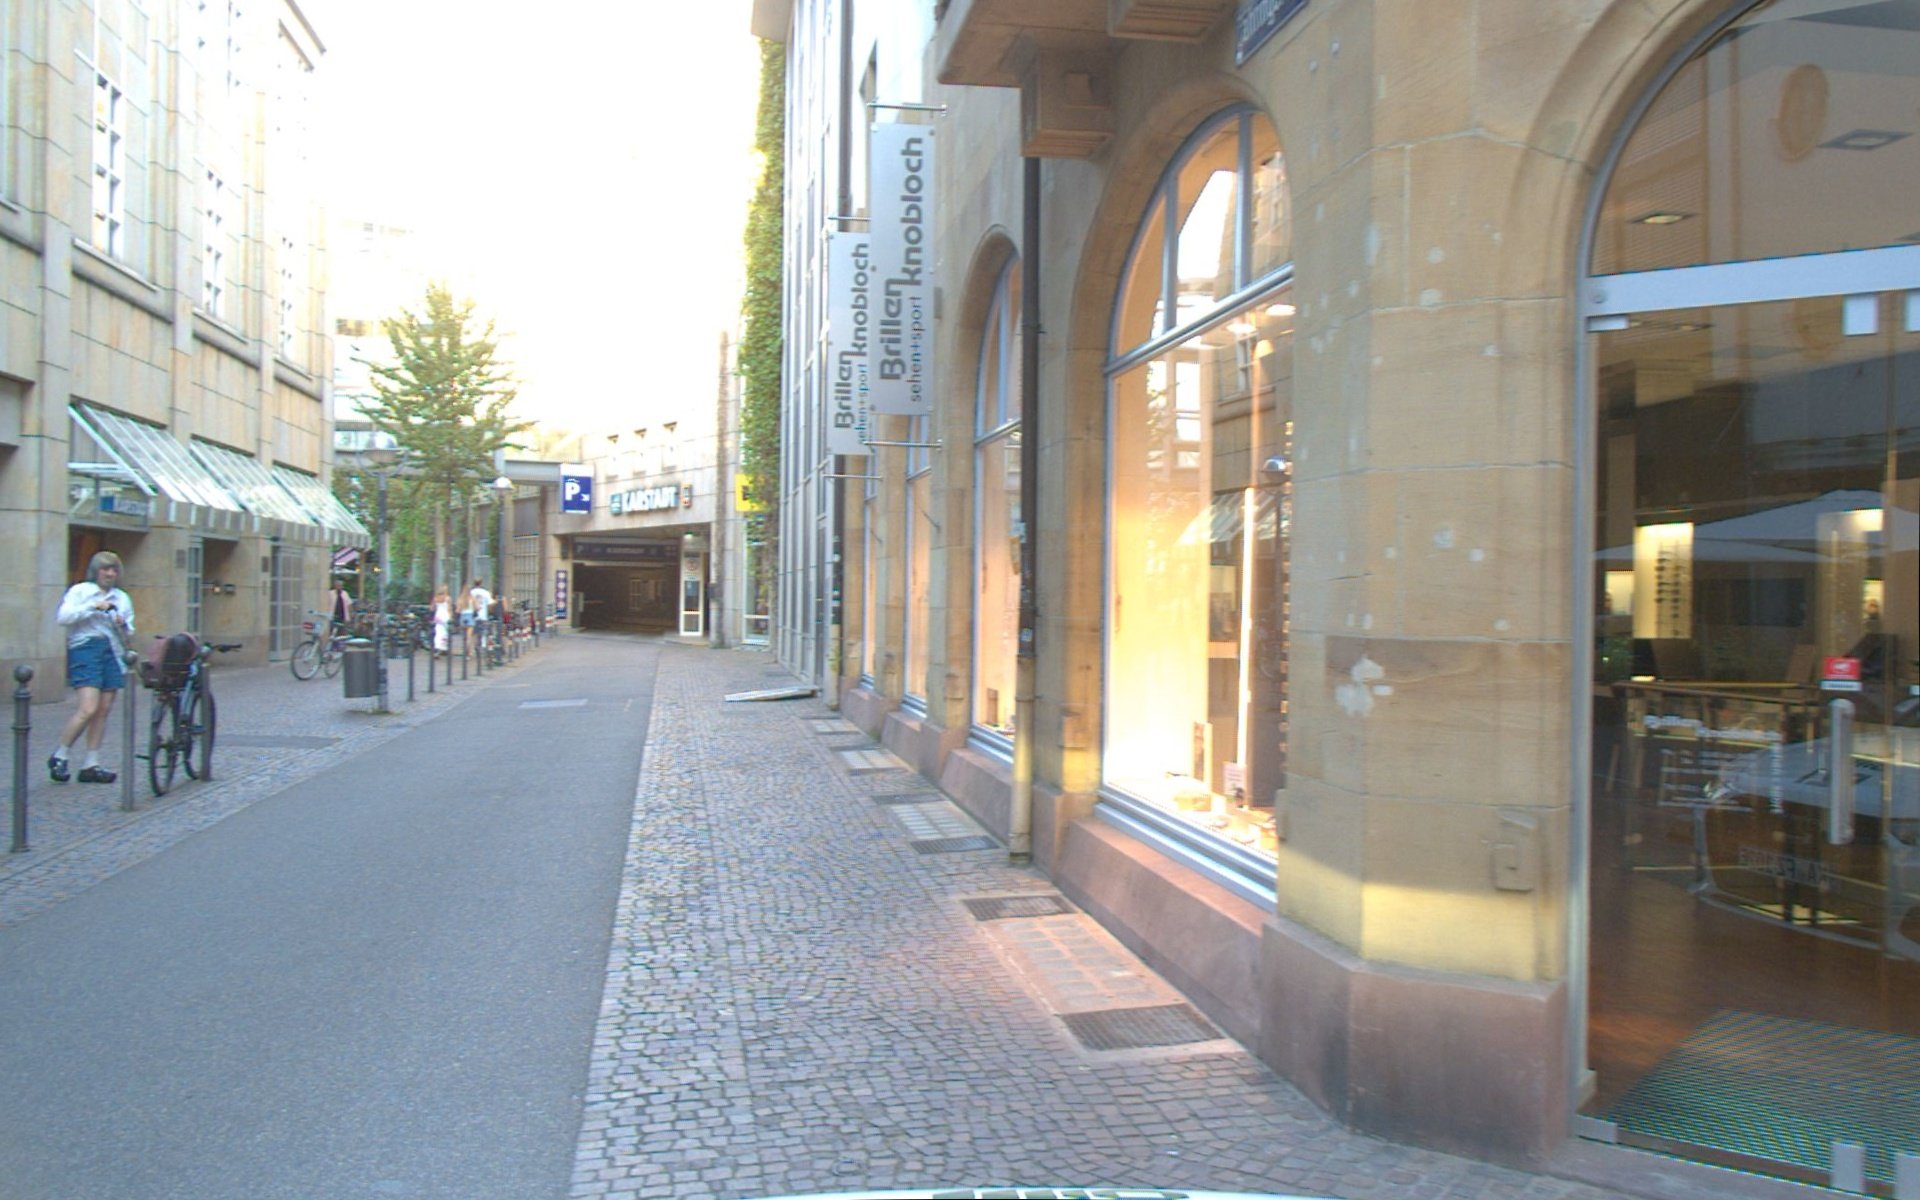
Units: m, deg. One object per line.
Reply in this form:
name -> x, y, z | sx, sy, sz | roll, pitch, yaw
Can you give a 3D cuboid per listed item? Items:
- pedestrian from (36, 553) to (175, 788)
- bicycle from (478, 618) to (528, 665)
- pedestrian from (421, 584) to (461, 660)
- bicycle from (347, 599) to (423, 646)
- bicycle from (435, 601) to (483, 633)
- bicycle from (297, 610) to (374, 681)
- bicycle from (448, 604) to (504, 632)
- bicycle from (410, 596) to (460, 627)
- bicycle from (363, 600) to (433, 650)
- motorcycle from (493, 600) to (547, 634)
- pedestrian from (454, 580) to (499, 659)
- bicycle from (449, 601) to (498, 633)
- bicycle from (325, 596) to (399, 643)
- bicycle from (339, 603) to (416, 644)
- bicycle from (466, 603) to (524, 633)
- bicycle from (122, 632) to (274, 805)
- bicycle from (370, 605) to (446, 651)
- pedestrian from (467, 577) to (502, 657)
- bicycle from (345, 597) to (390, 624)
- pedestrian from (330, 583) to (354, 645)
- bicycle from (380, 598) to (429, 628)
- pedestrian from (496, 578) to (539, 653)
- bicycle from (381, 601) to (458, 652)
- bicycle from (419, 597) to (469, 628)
pedestrian -> -6.582, 0.536, 12.771 | 0.754, 1.748, 0.590 | 2, 0, -11
bicycle -> -9.810, 0.872, 35.536 | 0.482, 0.955, 1.660 | 2, 0, 4
pedestrian -> -11.766, 0.482, 37.483 | 0.661, 1.693, 0.860 | 1, 0, -4
bicycle -> -15.355, 0.592, 44.181 | 1.855, 1.198, 0.528 | -1, 0, -33
bicycle -> -17.392, 0.588, 57.441 | 1.524, 1.067, 0.569 | 0, 0, -31
bicycle -> -10.721, 0.770, 28.436 | 0.510, 1.158, 1.766 | 0, 0, 6
bicycle -> -16.296, 0.601, 55.696 | 1.755, 0.920, 0.459 | 0, 0, -31
bicycle -> -19.969, 0.436, 62.910 | 1.755, 1.134, 0.537 | 0, 0, -31
bicycle -> -14.432, 0.628, 42.485 | 1.638, 1.252, 0.528 | -1, 0, -33
motorcycle -> -14.242, 0.540, 53.581 | 1.646, 1.069, 0.459 | 0, 0, -31
pedestrian -> -11.003, 0.438, 37.647 | 0.790, 1.760, 0.947 | 1, 0, -5
bicycle -> -16.616, 0.569, 56.490 | 1.524, 1.067, 0.569 | 0, 0, -31
bicycle -> -16.342, 0.535, 45.212 | 1.816, 1.246, 0.528 | -1, 0, -33
bicycle -> -15.720, 0.623, 44.648 | 1.877, 1.070, 0.528 | -1, 0, -33
bicycle -> -15.548, 0.592, 55.312 | 1.829, 0.999, 0.459 | 0, 0, -31
bicycle -> -5.837, 0.870, 12.765 | 0.523, 1.174, 1.911 | 2, 0, -9
bicycle -> -14.480, 0.725, 43.382 | 1.820, 1.142, 0.528 | -1, 0, -33
pedestrian -> -11.156, 0.396, 38.804 | 0.729, 1.854, 0.875 | 0, 0, -12
bicycle -> -25.088, 0.434, 70.072 | 1.753, 1.134, 0.538 | 0, 0, -29
pedestrian -> -14.968, 0.330, 40.046 | 0.470, 1.497, 0.410 | 0, 0, -32
bicycle -> -21.768, 0.501, 64.852 | 1.755, 1.134, 0.537 | 0, 0, -31
pedestrian -> -10.960, 0.363, 41.001 | 0.769, 1.826, 0.972 | 0, 1, 1
bicycle -> -13.512, 0.648, 41.366 | 1.750, 1.252, 0.528 | -1, 0, -33
bicycle -> -19.327, 0.456, 61.959 | 1.755, 1.134, 0.537 | 0, 0, -31
